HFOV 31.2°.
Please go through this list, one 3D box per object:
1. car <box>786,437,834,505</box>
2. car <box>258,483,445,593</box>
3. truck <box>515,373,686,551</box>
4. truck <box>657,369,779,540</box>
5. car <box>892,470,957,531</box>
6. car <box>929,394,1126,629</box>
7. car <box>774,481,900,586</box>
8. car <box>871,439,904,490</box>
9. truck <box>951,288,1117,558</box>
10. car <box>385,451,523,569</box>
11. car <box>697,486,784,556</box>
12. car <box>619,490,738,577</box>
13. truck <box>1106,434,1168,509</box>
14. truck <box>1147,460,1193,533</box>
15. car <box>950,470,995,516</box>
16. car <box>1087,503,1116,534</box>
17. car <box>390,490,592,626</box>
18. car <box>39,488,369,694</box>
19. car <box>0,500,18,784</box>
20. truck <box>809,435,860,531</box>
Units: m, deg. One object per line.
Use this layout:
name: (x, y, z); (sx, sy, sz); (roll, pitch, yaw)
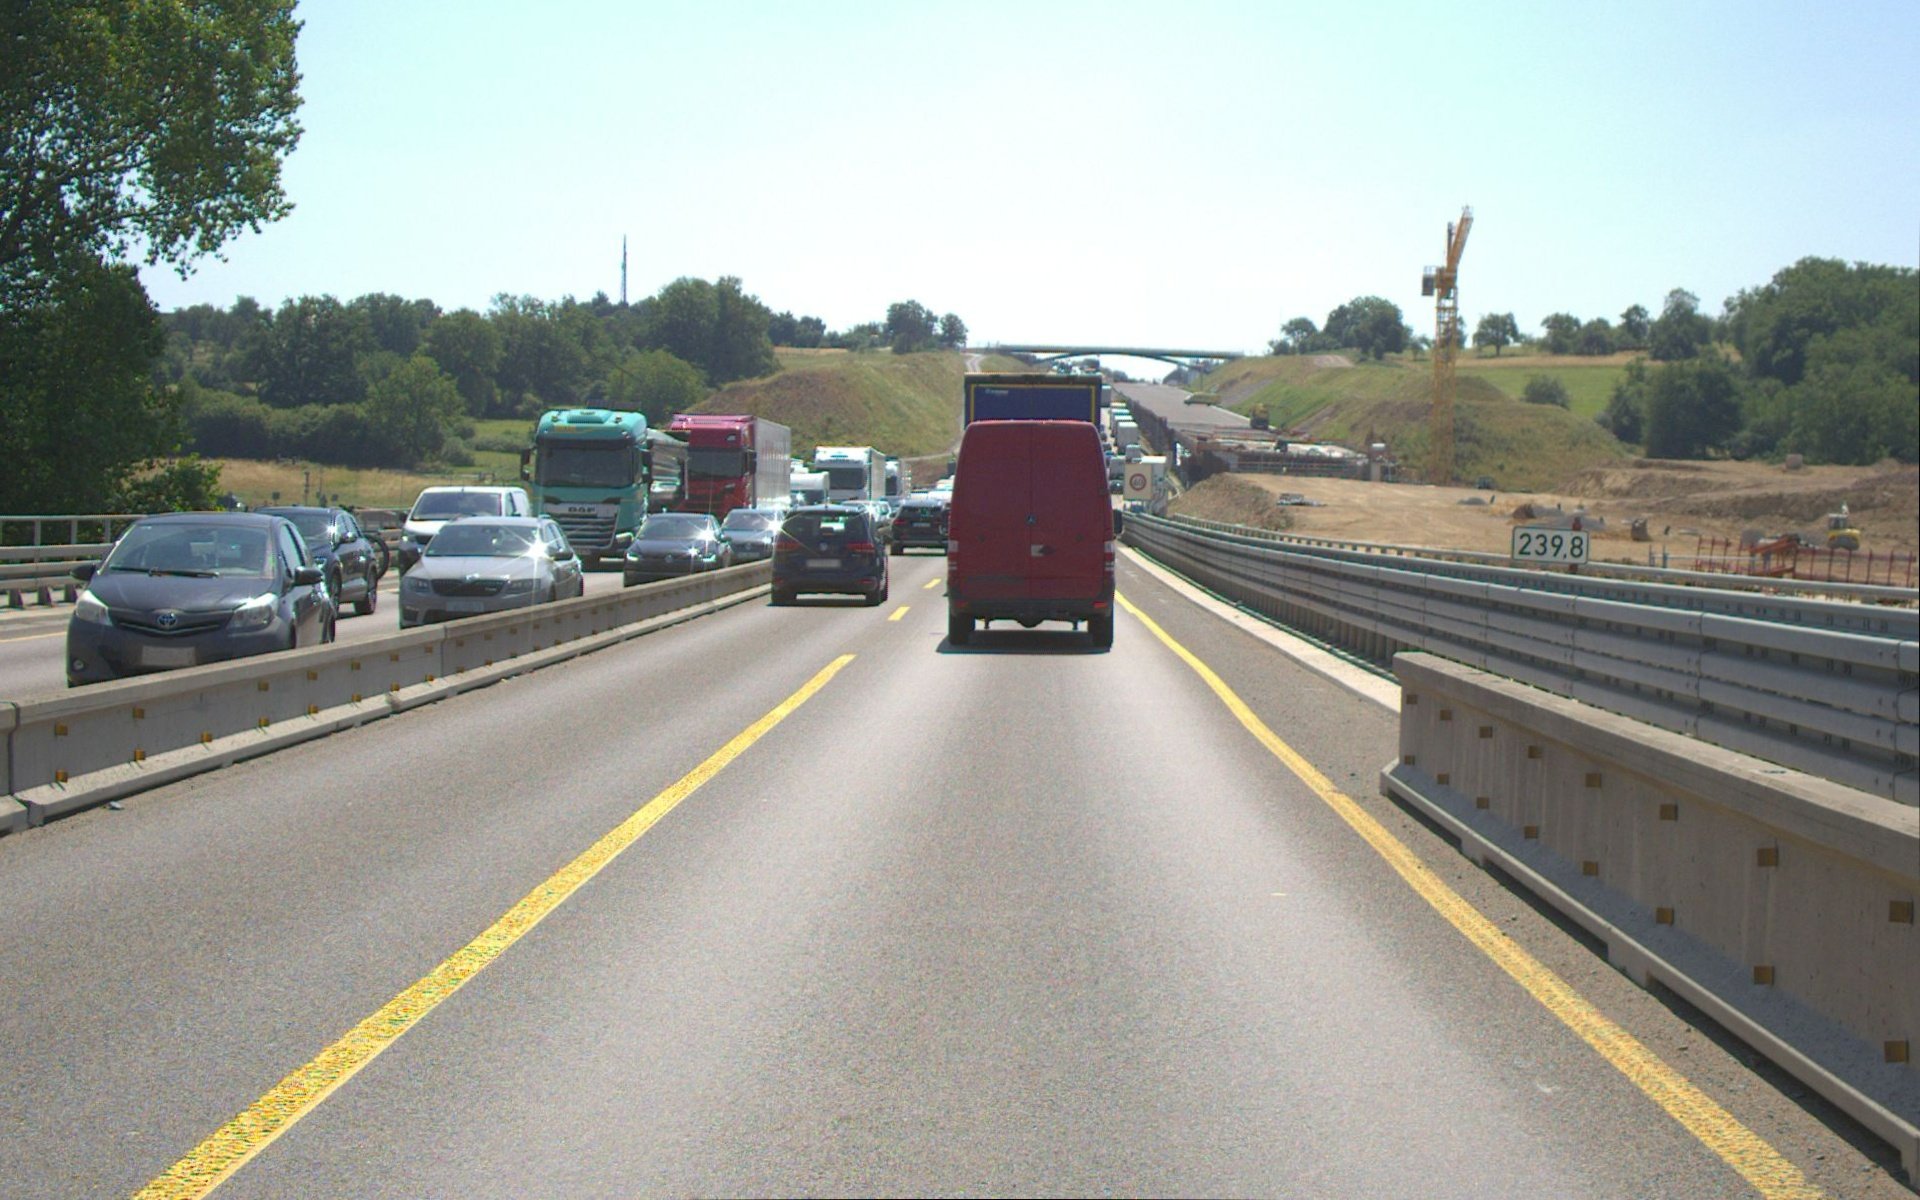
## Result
car: (-5.933, -5.097, 136.211); (1.617, 2.593, 3.890); (2, 2, 1)
car: (-8.949, -0.957, 50.961); (1.820, 1.491, 5.173); (2, 2, 0)
truck: (-8.650, -3.328, 84.241); (2.808, 3.950, 12.135); (2, 2, 0)
truck: (-7.440, -4.479, 107.192); (2.808, 4.922, 12.135); (2, 2, 0)
car: (-1.018, -2.939, 101.241); (1.820, 1.691, 4.134); (2, 2, 0)
car: (0.840, -1.099, 42.008); (2.150, 2.602, 5.439); (2, 2, 1)
car: (-2.009, -1.137, 57.452); (1.734, 1.629, 4.389); (2, 2, 2)
car: (-3.937, -7.346, 186.662); (1.617, 2.593, 3.890); (2, 1, 1)
truck: (1.363, -3.387, 67.194); (2.944, 4.928, 6.742); (1, 2, -1)
car: (-9.087, -1.635, 62.013); (1.993, 2.006, 4.001); (1, 2, -2)
car: (-5.006, -1.827, 78.666); (1.710, 1.491, 3.602); (2, 2, 0)
car: (-5.187, -1.254, 63.731); (1.820, 1.491, 4.134); (2, 2, 0)
truck: (7.736, -5.637, 150.934); (2.291, 3.185, 6.483); (1, 2, 0)
truck: (12.010, -5.897, 196.975); (2.291, 3.726, 6.481); (1, -2, 1)
car: (0.491, -4.118, 132.121); (1.617, 1.694, 3.890); (2, 2, 1)
car: (8.861, -5.083, 215.419); (1.617, 1.830, 3.890); (2, 1, -1)
car: (-5.584, -0.541, 41.355); (1.820, 1.491, 4.134); (2, 2, 0)
car: (-6.040, -0.135, 27.909); (1.725, 1.491, 4.134); (2, 2, 0)
car: (-5.928, 0.261, 16.110); (1.757, 1.491, 4.440); (2, 2, 0)
truck: (-5.796, -5.398, 159.805); (1.993, 3.992, 6.481); (1, -2, 1)
